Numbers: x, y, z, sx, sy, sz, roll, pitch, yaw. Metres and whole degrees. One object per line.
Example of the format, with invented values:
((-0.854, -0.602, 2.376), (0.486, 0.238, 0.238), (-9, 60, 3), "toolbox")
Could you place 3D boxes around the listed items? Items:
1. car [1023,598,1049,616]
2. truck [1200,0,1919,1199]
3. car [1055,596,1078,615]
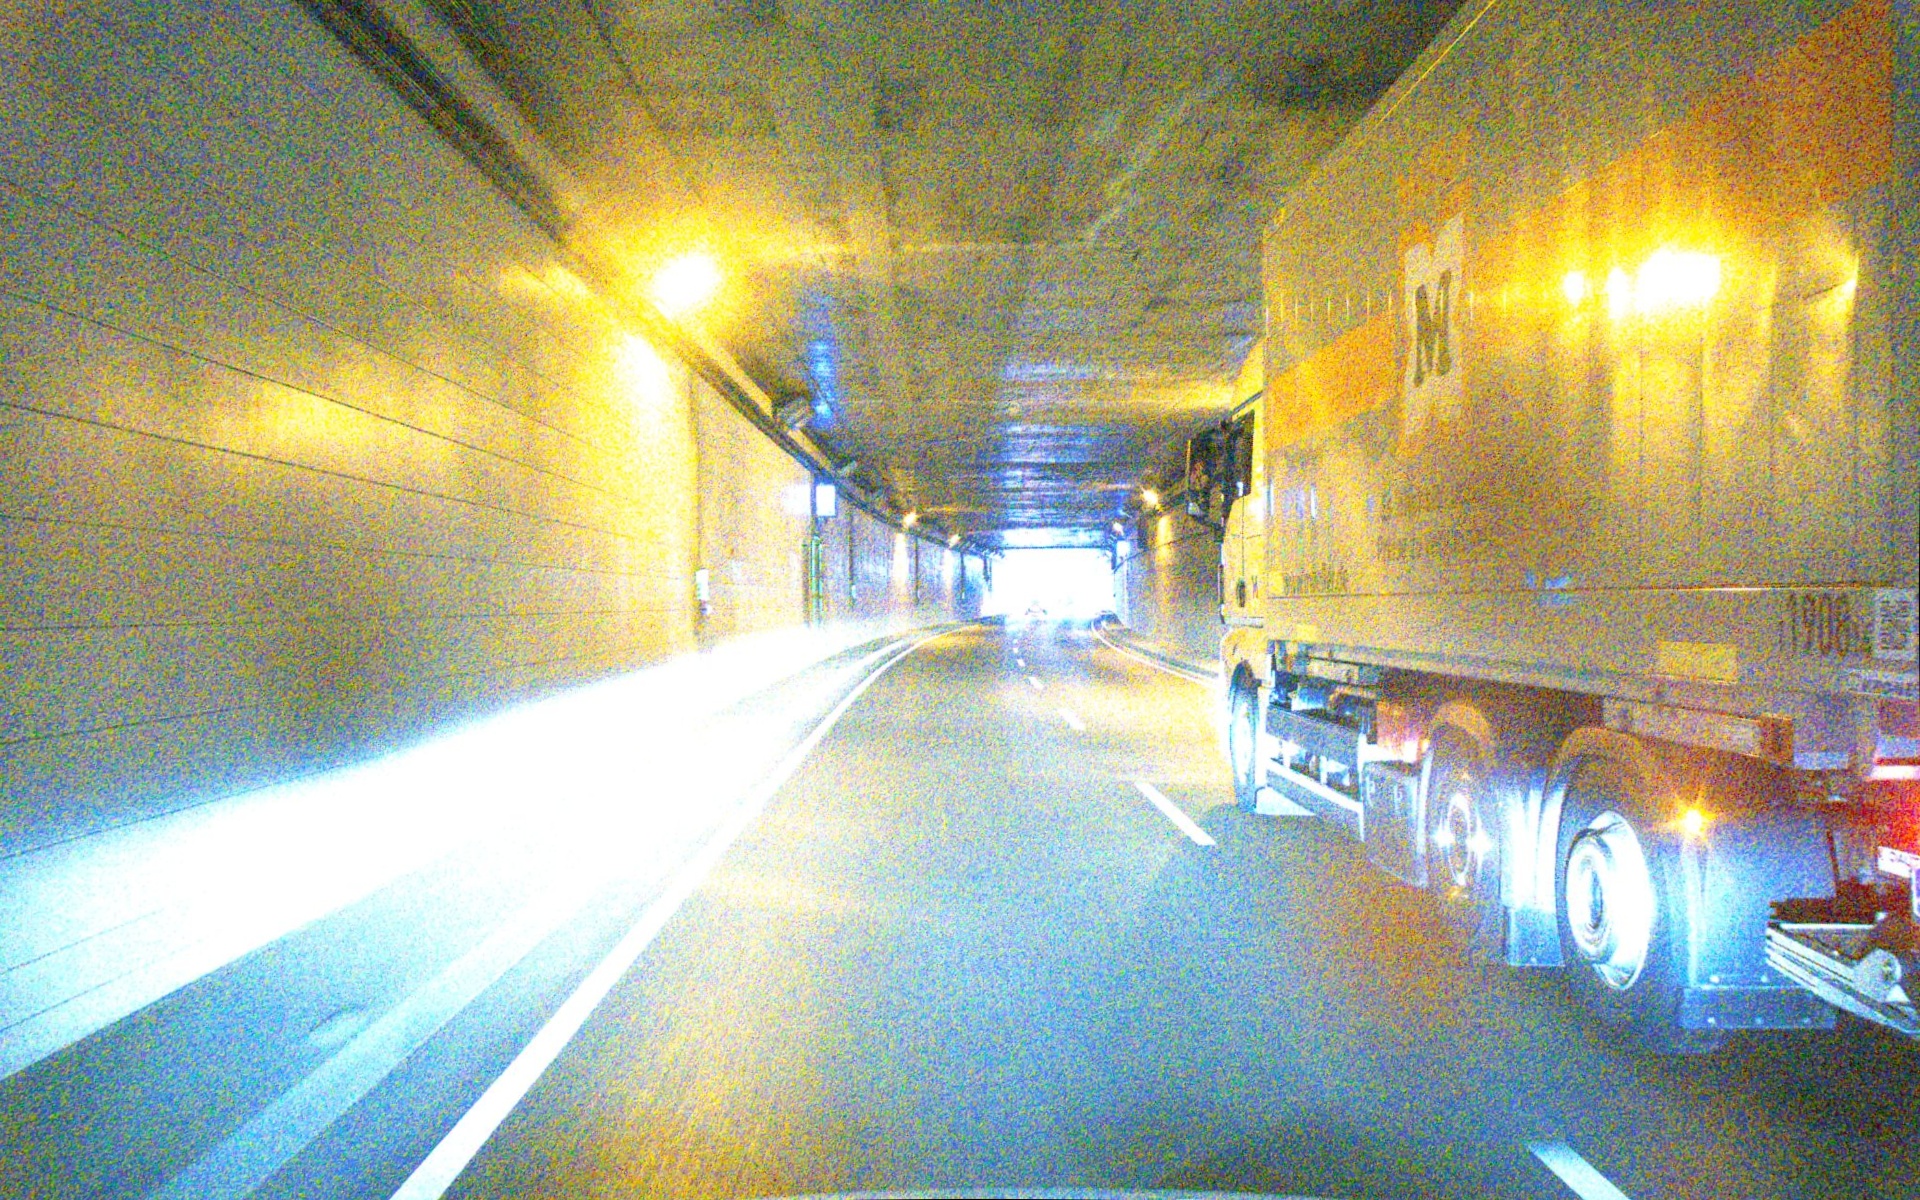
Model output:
((6.081, 0.528, 132.208), (1.802, 1.413, 4.003), (0, 0, 7), "car")
((3.419, -0.541, 8.238), (2.830, 3.982, 9.906), (0, 0, -1), "truck")
((9.727, 0.526, 151.099), (1.831, 1.763, 4.000), (0, 0, 0), "car")
